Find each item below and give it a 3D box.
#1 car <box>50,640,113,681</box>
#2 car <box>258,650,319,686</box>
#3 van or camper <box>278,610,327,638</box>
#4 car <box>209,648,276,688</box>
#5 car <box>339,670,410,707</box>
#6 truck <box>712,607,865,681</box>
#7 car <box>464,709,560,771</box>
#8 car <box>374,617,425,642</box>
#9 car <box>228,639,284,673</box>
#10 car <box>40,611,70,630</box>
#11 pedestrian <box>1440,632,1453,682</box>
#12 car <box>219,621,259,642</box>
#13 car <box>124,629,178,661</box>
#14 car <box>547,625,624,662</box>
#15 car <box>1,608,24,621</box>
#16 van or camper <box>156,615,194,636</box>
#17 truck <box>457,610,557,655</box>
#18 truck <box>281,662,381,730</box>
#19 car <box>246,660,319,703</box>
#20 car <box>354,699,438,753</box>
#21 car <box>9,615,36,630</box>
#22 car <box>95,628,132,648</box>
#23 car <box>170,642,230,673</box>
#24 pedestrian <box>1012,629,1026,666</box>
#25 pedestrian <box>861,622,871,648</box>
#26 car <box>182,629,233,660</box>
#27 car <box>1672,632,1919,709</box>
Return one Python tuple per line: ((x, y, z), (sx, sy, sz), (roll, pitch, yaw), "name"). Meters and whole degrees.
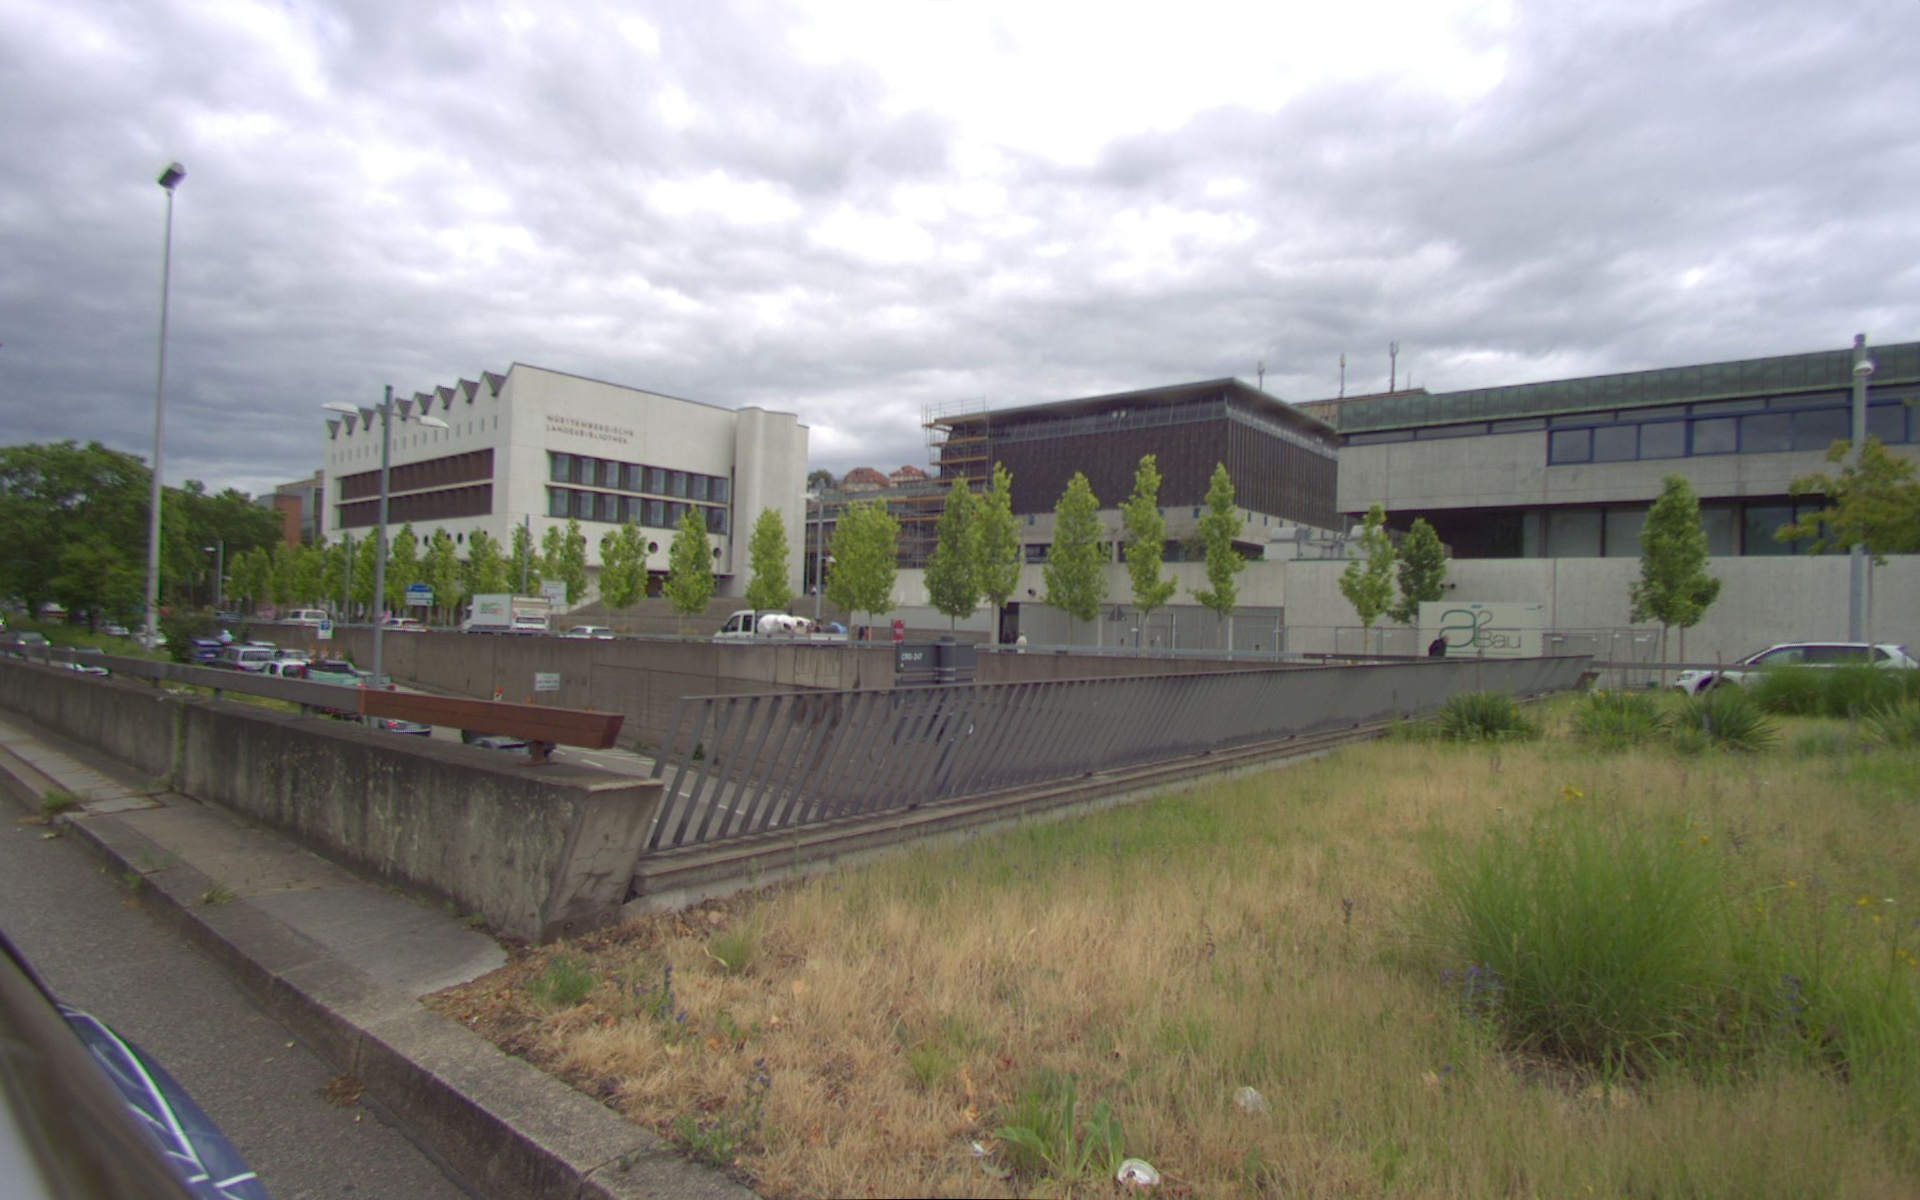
((-47.597, 3.253, 54.787), (3.998, 2.029, 1.973), (0, -3, 41), "car")
((-41.130, 4.149, 61.972), (3.998, 2.029, 1.973), (-2, -6, 41), "car")
((-50.729, 1.880, 78.011), (4.554, 2.029, 1.973), (-2, -2, 41), "van or camper")
((-39.841, 3.754, 56.184), (4.330, 2.029, 1.973), (-2, -6, 41), "car")
((-30.164, 4.507, 52.073), (3.998, 1.564, 1.973), (-1, -1, 41), "car")
((-7.262, 1.791, 42.174), (7.077, 2.838, 2.437), (-2, -3, 42), "truck")
((-18.136, 5.583, 40.889), (4.226, 1.970, 1.973), (-1, -1, 41), "car")
((-37.342, 1.986, 67.395), (4.269, 1.586, 1.700), (-2, -2, 42), "car")
((-45.678, 3.630, 65.623), (3.998, 2.029, 1.973), (-2, -6, 41), "car")
((-100.270, 2.255, 112.091), (3.997, 2.029, 1.973), (-1, -1, 40), "car")
((15.268, 1.788, 31.754), (0.316, 1.533, 0.314), (-1, -1, 34), "pedestrian")
((-64.730, 2.871, 90.839), (3.998, 1.830, 1.973), (-2, -2, 41), "car")
((-57.216, 3.158, 71.537), (4.849, 2.148, 1.973), (-2, -5, 41), "car")
((-19.571, 2.269, 52.798), (4.255, 1.830, 1.973), (-2, -2, 41), "car")
((-111.441, 1.705, 118.980), (3.360, 1.497, 1.653), (-2, -2, 41), "car")
((-79.264, 2.571, 102.163), (4.552, 2.029, 1.974), (-2, -2, 39), "van or camper")
((-29.385, 2.117, 65.522), (7.250, 2.809, 3.197), (-2, -2, 42), "truck")
((-28.928, 4.302, 46.432), (5.976, 2.711, 2.294), (-2, -2, 42), "truck")
((-34.535, 4.139, 51.565), (3.998, 2.029, 1.973), (-2, -6, 41), "car")
((-23.201, 5.129, 41.574), (3.925, 1.829, 1.771), (-2, -2, 40), "car")
((-94.873, 2.266, 102.359), (3.360, 1.497, 1.653), (-2, -2, 41), "car")
((-65.640, 2.961, 78.495), (3.360, 1.497, 1.653), (-1, -2, 41), "car")
((-46.480, 3.526, 61.850), (4.279, 1.757, 1.973), (-2, -5, 41), "car")
((2.511, 2.023, 43.105), (0.460, 1.533, 0.424), (-1, -1, 34), "pedestrian")
((-5.747, 2.128, 61.822), (0.460, 1.533, 0.377), (-1, -1, 34), "pedestrian")
((-53.034, 3.123, 71.322), (3.998, 2.029, 1.973), (-2, -6, 41), "car")
((19.091, 1.529, 22.948), (4.611, 1.586, 1.700), (-2, -2, 42), "car")
